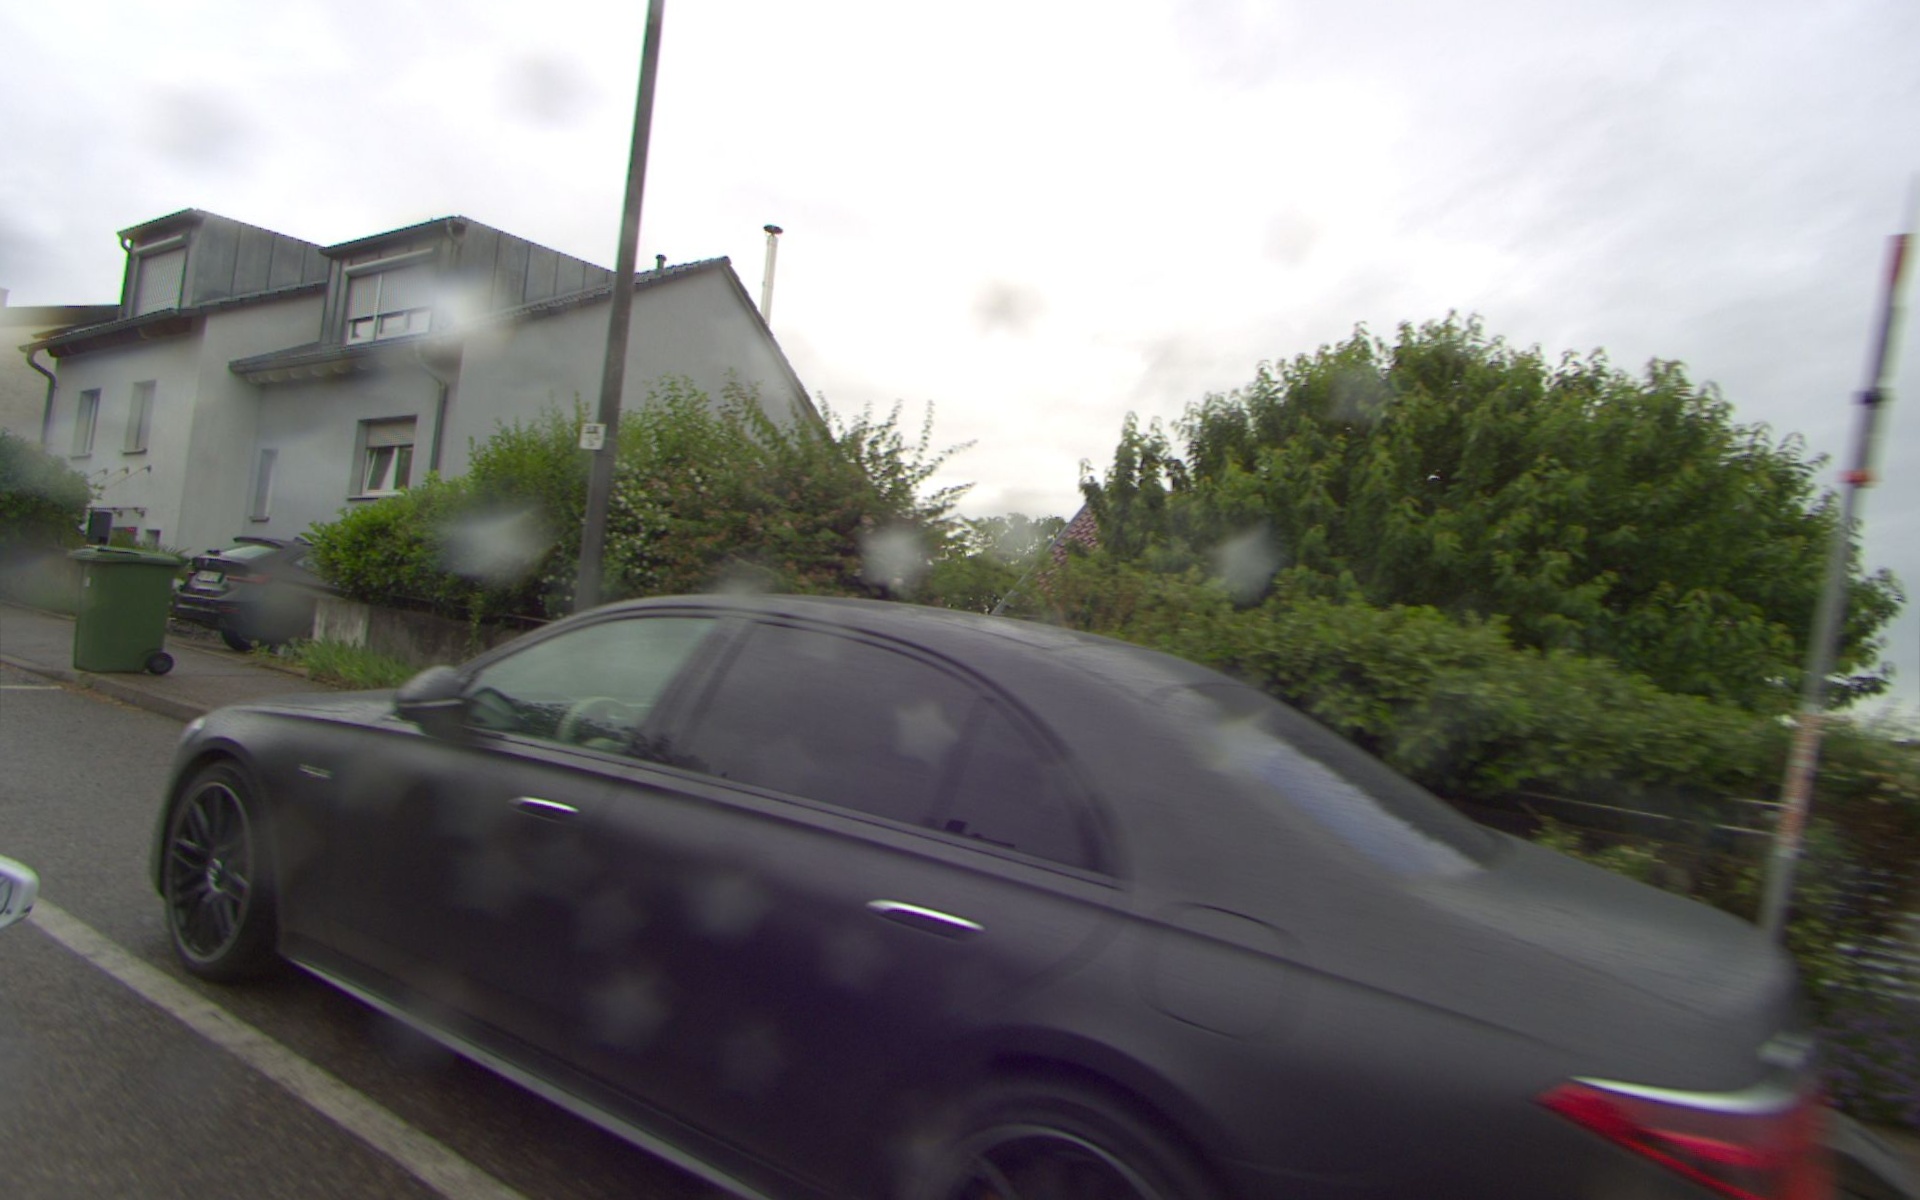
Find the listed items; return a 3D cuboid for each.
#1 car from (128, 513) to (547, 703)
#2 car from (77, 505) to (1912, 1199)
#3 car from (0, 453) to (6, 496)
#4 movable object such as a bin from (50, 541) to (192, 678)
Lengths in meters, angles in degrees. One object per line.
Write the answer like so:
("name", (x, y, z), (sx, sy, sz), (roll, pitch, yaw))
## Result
("car", (-7.764, 0.216, 13.012), (1.965, 1.453, 4.013), (7, -9, 28))
("car", (-0.625, 0.750, 3.283), (4.978, 1.545, 1.860), (7, 0, 31))
("car", (-23.601, -2.829, 21.615), (1.902, 1.607, 4.000), (6, -4, 28))
("movable object such as a bin", (-7.385, 0.092, 8.866), (0.634, 1.080, 0.677), (7, -1, 29))
